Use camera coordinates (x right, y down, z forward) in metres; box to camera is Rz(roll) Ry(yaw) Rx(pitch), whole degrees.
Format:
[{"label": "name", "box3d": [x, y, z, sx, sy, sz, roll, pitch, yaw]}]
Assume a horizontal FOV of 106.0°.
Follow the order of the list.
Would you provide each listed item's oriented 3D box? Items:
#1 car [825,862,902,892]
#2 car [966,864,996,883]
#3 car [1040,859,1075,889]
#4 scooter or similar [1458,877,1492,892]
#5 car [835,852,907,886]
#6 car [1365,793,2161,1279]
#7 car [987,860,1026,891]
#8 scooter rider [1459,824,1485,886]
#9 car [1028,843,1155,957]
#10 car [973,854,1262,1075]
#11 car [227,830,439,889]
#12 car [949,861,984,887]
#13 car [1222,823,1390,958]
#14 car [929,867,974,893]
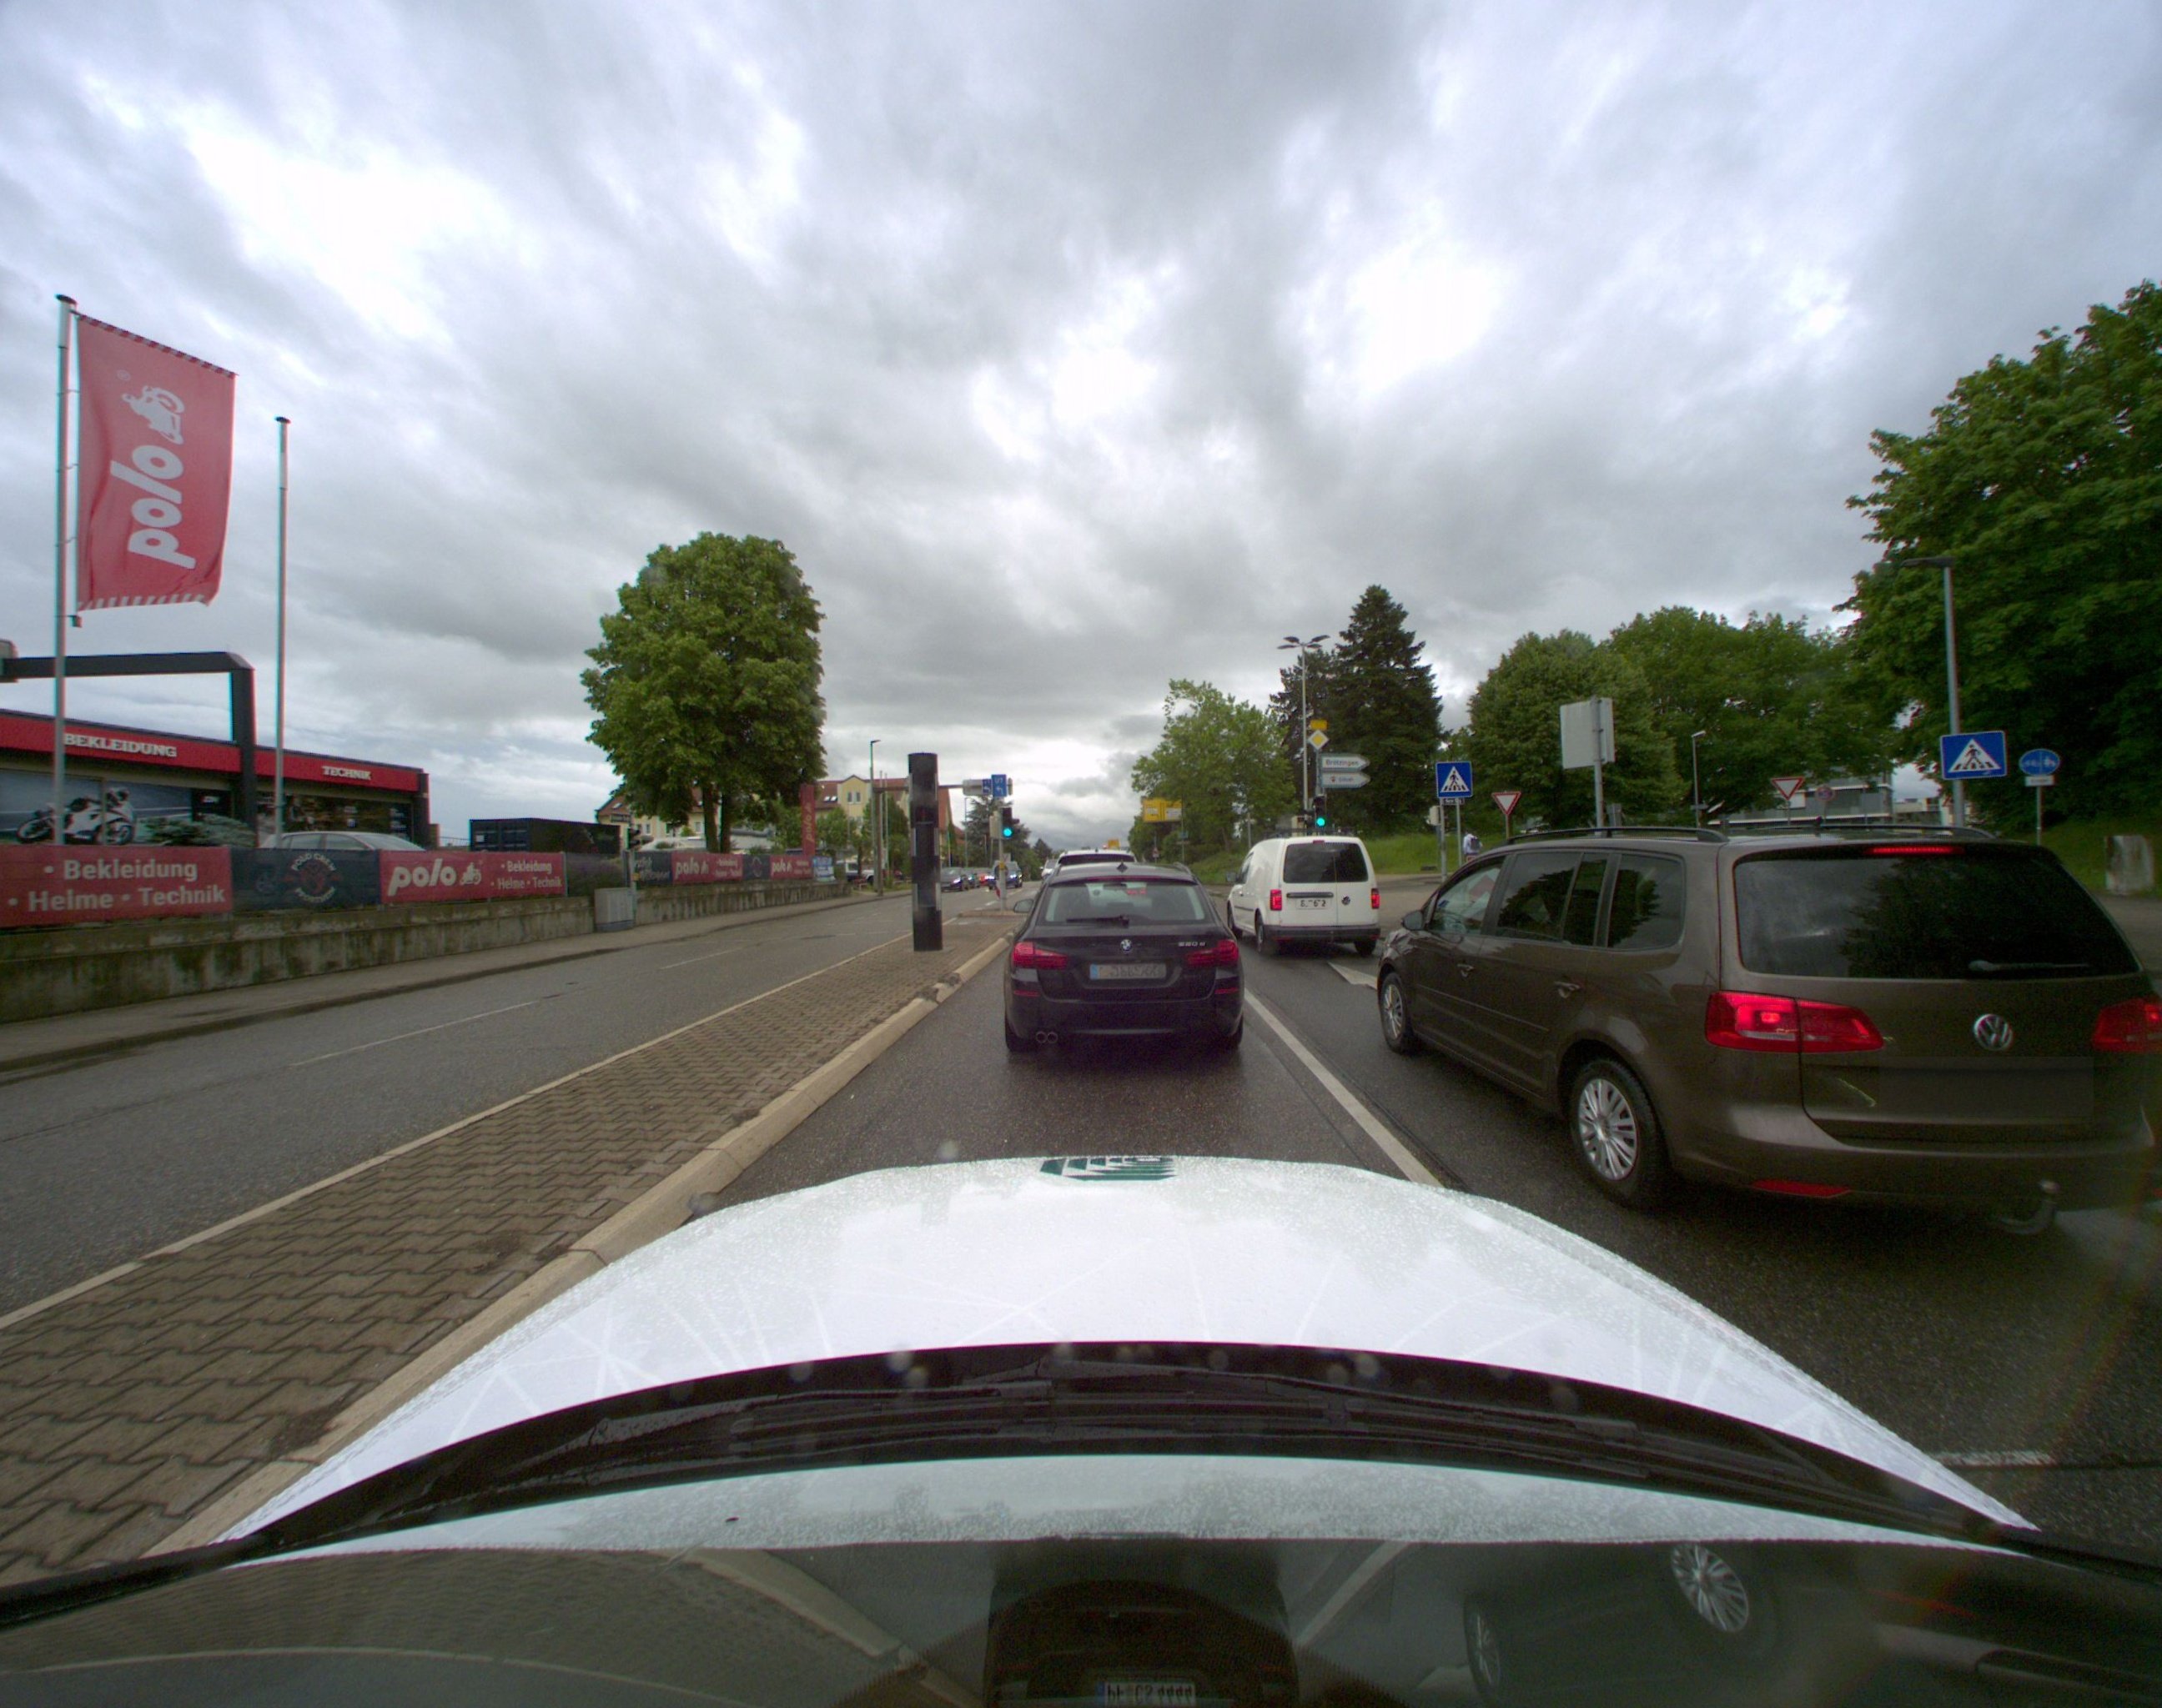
[{"label": "car", "box3d": [-15.704, 1.652, 58.897, 5.024, 1.702, 1.982, -3, -3, -27]}, {"label": "car", "box3d": [-7.560, 1.461, 61.958, 1.617, 1.332, 3.947, -3, 0, 1]}, {"label": "car", "box3d": [-1.347, 1.143, 48.451, 1.833, 1.649, 4.297, -2, 0, 1]}, {"label": "scooter or similar", "box3d": [12.598, 0.966, 26.081, 0.485, 0.403, 1.256, -2, 0, 1]}, {"label": "car", "box3d": [-14.489, 1.047, 56.215, 4.410, 2.013, 1.982, -3, -1, -27]}, {"label": "car", "box3d": [3.159, 0.623, 4.721, 1.740, 1.609, 3.982, -1, 0, 2]}, {"label": "car", "box3d": [-4.520, 1.267, 49.696, 1.833, 1.649, 4.297, -3, 0, 1]}, {"label": "scooter rider", "box3d": [12.566, 0.037, 26.186, 0.499, 1.965, 0.548, -2, 0, 1]}, {"label": "car", "box3d": [0.223, 0.679, 14.095, 1.861, 1.673, 4.002, -1, 0, 2]}, {"label": "car", "box3d": [0.309, 0.747, 7.406, 1.891, 1.441, 4.002, -1, 0, 2]}, {"label": "car", "box3d": [-16.904, 0.111, 18.516, 3.376, 1.167, 1.453, -2, 0, -1]}, {"label": "car", "box3d": [-7.826, 1.363, 56.005, 1.670, 1.618, 4.001, -3, 0, 1]}, {"label": "car", "box3d": [3.515, 0.508, 13.449, 1.758, 1.877, 3.806, -1, 0, 1]}, {"label": "car", "box3d": [-7.776, 1.535, 49.248, 1.910, 1.379, 4.126, -3, 0, 1]}]
